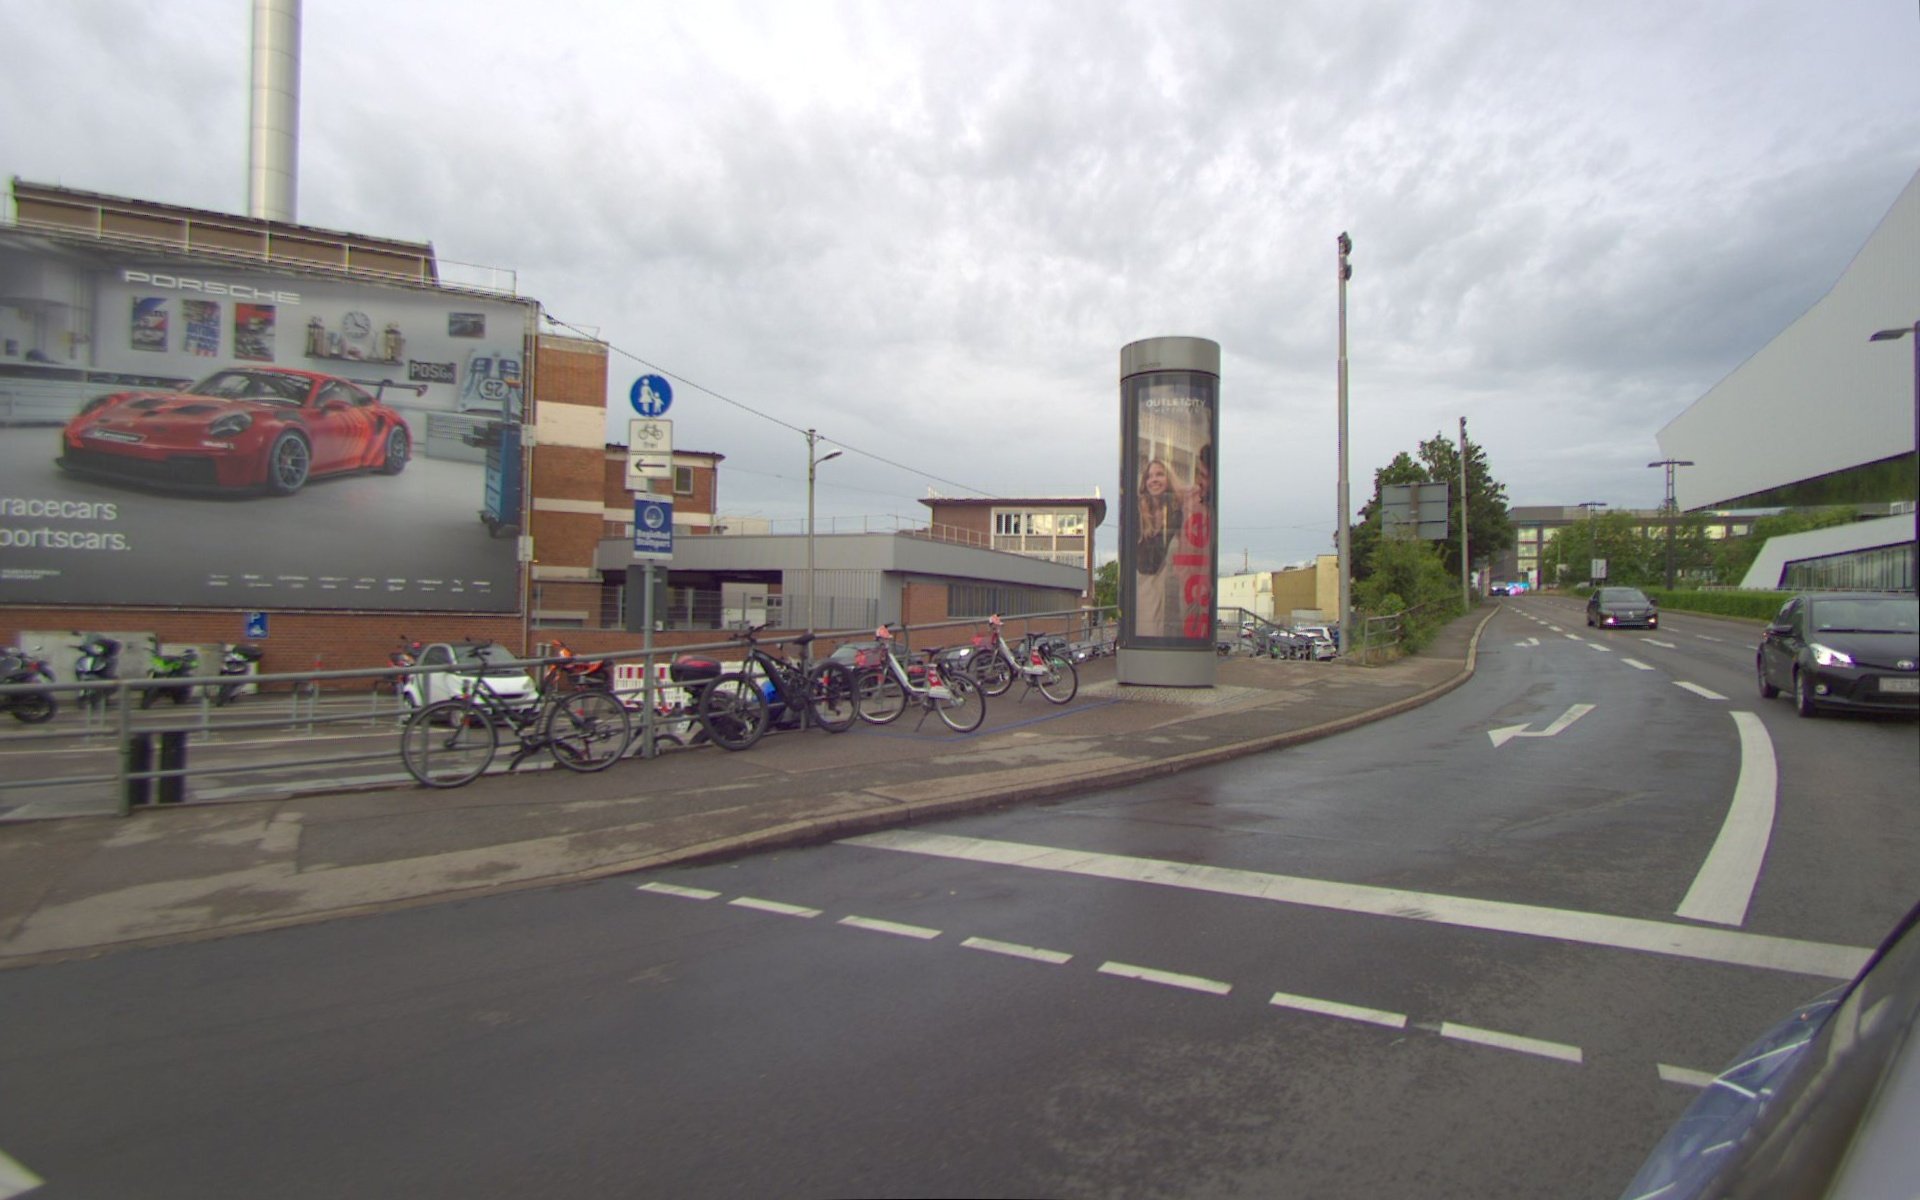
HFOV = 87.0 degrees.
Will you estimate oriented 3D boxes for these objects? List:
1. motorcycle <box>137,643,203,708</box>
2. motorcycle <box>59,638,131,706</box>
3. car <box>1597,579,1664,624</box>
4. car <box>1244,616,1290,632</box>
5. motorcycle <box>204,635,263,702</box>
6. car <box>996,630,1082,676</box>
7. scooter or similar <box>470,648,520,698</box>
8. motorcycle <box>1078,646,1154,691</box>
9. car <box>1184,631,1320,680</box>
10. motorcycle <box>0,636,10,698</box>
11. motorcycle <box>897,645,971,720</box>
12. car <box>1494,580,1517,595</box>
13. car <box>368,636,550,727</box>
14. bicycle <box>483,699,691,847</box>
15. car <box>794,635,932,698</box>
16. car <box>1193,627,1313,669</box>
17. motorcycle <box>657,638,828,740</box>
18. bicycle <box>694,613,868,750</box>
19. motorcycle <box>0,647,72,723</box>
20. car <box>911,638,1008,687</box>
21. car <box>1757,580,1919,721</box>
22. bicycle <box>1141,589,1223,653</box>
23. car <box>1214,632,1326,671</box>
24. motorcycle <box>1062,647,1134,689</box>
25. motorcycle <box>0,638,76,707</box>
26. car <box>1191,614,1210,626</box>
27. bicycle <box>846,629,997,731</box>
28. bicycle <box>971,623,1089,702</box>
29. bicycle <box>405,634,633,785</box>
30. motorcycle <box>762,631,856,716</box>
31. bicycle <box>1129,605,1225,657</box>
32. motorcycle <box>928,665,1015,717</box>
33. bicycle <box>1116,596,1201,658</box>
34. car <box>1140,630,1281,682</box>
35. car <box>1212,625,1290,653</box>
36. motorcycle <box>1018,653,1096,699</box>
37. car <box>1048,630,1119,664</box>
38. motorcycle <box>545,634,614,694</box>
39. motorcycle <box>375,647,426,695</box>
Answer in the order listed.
[{"bbox_3d":[-15.620,1.468,20.055,0.467,1.134,1.813,-2,0,-20],"label":"motorcycle"},{"bbox_3d":[-16.965,1.392,19.888,0.533,1.195,1.716,-2,0,-22],"label":"motorcycle"},{"bbox_3d":[24.140,0.014,36.566,1.735,1.493,4.026,-1,0,30],"label":"car"},{"bbox_3d":[28.550,2.250,94.240,3.941,1.444,1.713,0,-1,15],"label":"car"},{"bbox_3d":[-14.931,1.379,20.839,0.533,1.254,1.810,1,-1,-22],"label":"motorcycle"},{"bbox_3d":[3.291,2.096,41.328,1.769,1.688,4.456,-1,-1,30],"label":"car"},{"bbox_3d":[-11.068,1.717,24.075,1.633,1.110,0.496,-1,0,44],"label":"scooter or similar"},{"bbox_3d":[3.415,1.500,22.104,1.593,0.933,0.420,-2,0,15],"label":"motorcycle"},{"bbox_3d":[9.601,1.792,33.451,3.986,1.444,1.694,-1,-1,43],"label":"car"},{"bbox_3d":[-19.023,1.333,19.345,0.661,1.195,1.651,-2,0,-22],"label":"motorcycle"},{"bbox_3d":[-0.346,1.145,14.406,0.399,0.901,1.527,-1,1,26],"label":"motorcycle"},{"bbox_3d":[60.300,-1.402,111.951,1.797,1.457,4.268,1,-1,22],"label":"car"},{"bbox_3d":[-9.652,1.475,19.406,3.977,1.508,1.547,-1,-1,38],"label":"car"},{"bbox_3d":[-3.340,1.520,9.139,1.709,1.097,0.348,-2,1,-28],"label":"bicycle"},{"bbox_3d":[-2.704,1.854,29.328,1.872,1.571,4.464,-1,-1,27],"label":"car"},{"bbox_3d":[10.920,1.744,37.844,3.986,1.444,1.694,-1,-1,43],"label":"car"},{"bbox_3d":[-2.293,0.910,10.781,1.713,0.906,0.547,-2,1,-39],"label":"motorcycle"},{"bbox_3d":[-1.761,0.760,10.267,0.398,1.189,1.988,0,1,37],"label":"bicycle"},{"bbox_3d":[-15.331,1.371,16.008,1.827,1.125,0.545,-2,0,-26],"label":"motorcycle"},{"bbox_3d":[0.044,2.111,34.969,1.705,1.444,3.960,-1,-1,28],"label":"car"},{"bbox_3d":[11.576,0.539,12.916,1.681,1.526,3.967,-1,0,31],"label":"car"},{"bbox_3d":[4.283,0.401,19.613,1.521,1.169,0.450,1,2,12],"label":"bicycle"},{"bbox_3d":[12.459,2.032,40.833,3.986,1.444,1.694,-1,-1,43],"label":"car"},{"bbox_3d":[3.181,1.569,23.372,1.593,0.933,0.420,-2,0,15],"label":"motorcycle"},{"bbox_3d":[-17.801,1.376,19.567,0.533,1.195,1.651,-2,0,-22],"label":"motorcycle"},{"bbox_3d":[30.132,2.457,126.916,1.690,1.444,3.995,0,-1,4],"label":"car"},{"bbox_3d":[-0.438,0.821,10.855,1.735,0.973,0.416,0,1,37],"label":"bicycle"},{"bbox_3d":[0.888,0.789,13.186,1.609,0.933,0.415,0,0,41],"label":"bicycle"},{"bbox_3d":[-3.659,0.874,8.469,1.709,1.097,0.348,-2,1,-28],"label":"bicycle"},{"bbox_3d":[-1.802,0.857,12.203,0.430,0.901,1.251,-1,1,30],"label":"motorcycle"},{"bbox_3d":[4.034,0.566,18.854,1.670,0.933,0.487,0,1,-7],"label":"bicycle"},{"bbox_3d":[0.220,1.727,19.406,1.597,0.933,0.479,-2,0,22],"label":"motorcycle"},{"bbox_3d":[3.575,0.483,18.265,1.434,1.087,0.444,1,2,-2],"label":"bicycle"},{"bbox_3d":[7.791,1.705,31.696,3.986,1.444,1.694,-1,-1,43],"label":"car"},{"bbox_3d":[15.643,2.086,54.447,3.950,1.444,1.709,-1,-1,20],"label":"car"},{"bbox_3d":[2.069,1.630,21.575,1.594,0.933,0.419,-2,0,16],"label":"motorcycle"},{"bbox_3d":[5.739,2.122,46.558,1.706,1.422,4.228,-1,-1,30],"label":"car"},{"bbox_3d":[-9.492,1.583,25.289,0.519,1.350,1.653,-2,0,28],"label":"motorcycle"},{"bbox_3d":[-12.553,1.570,22.694,1.611,0.985,0.533,-1,0,44],"label":"motorcycle"}]
